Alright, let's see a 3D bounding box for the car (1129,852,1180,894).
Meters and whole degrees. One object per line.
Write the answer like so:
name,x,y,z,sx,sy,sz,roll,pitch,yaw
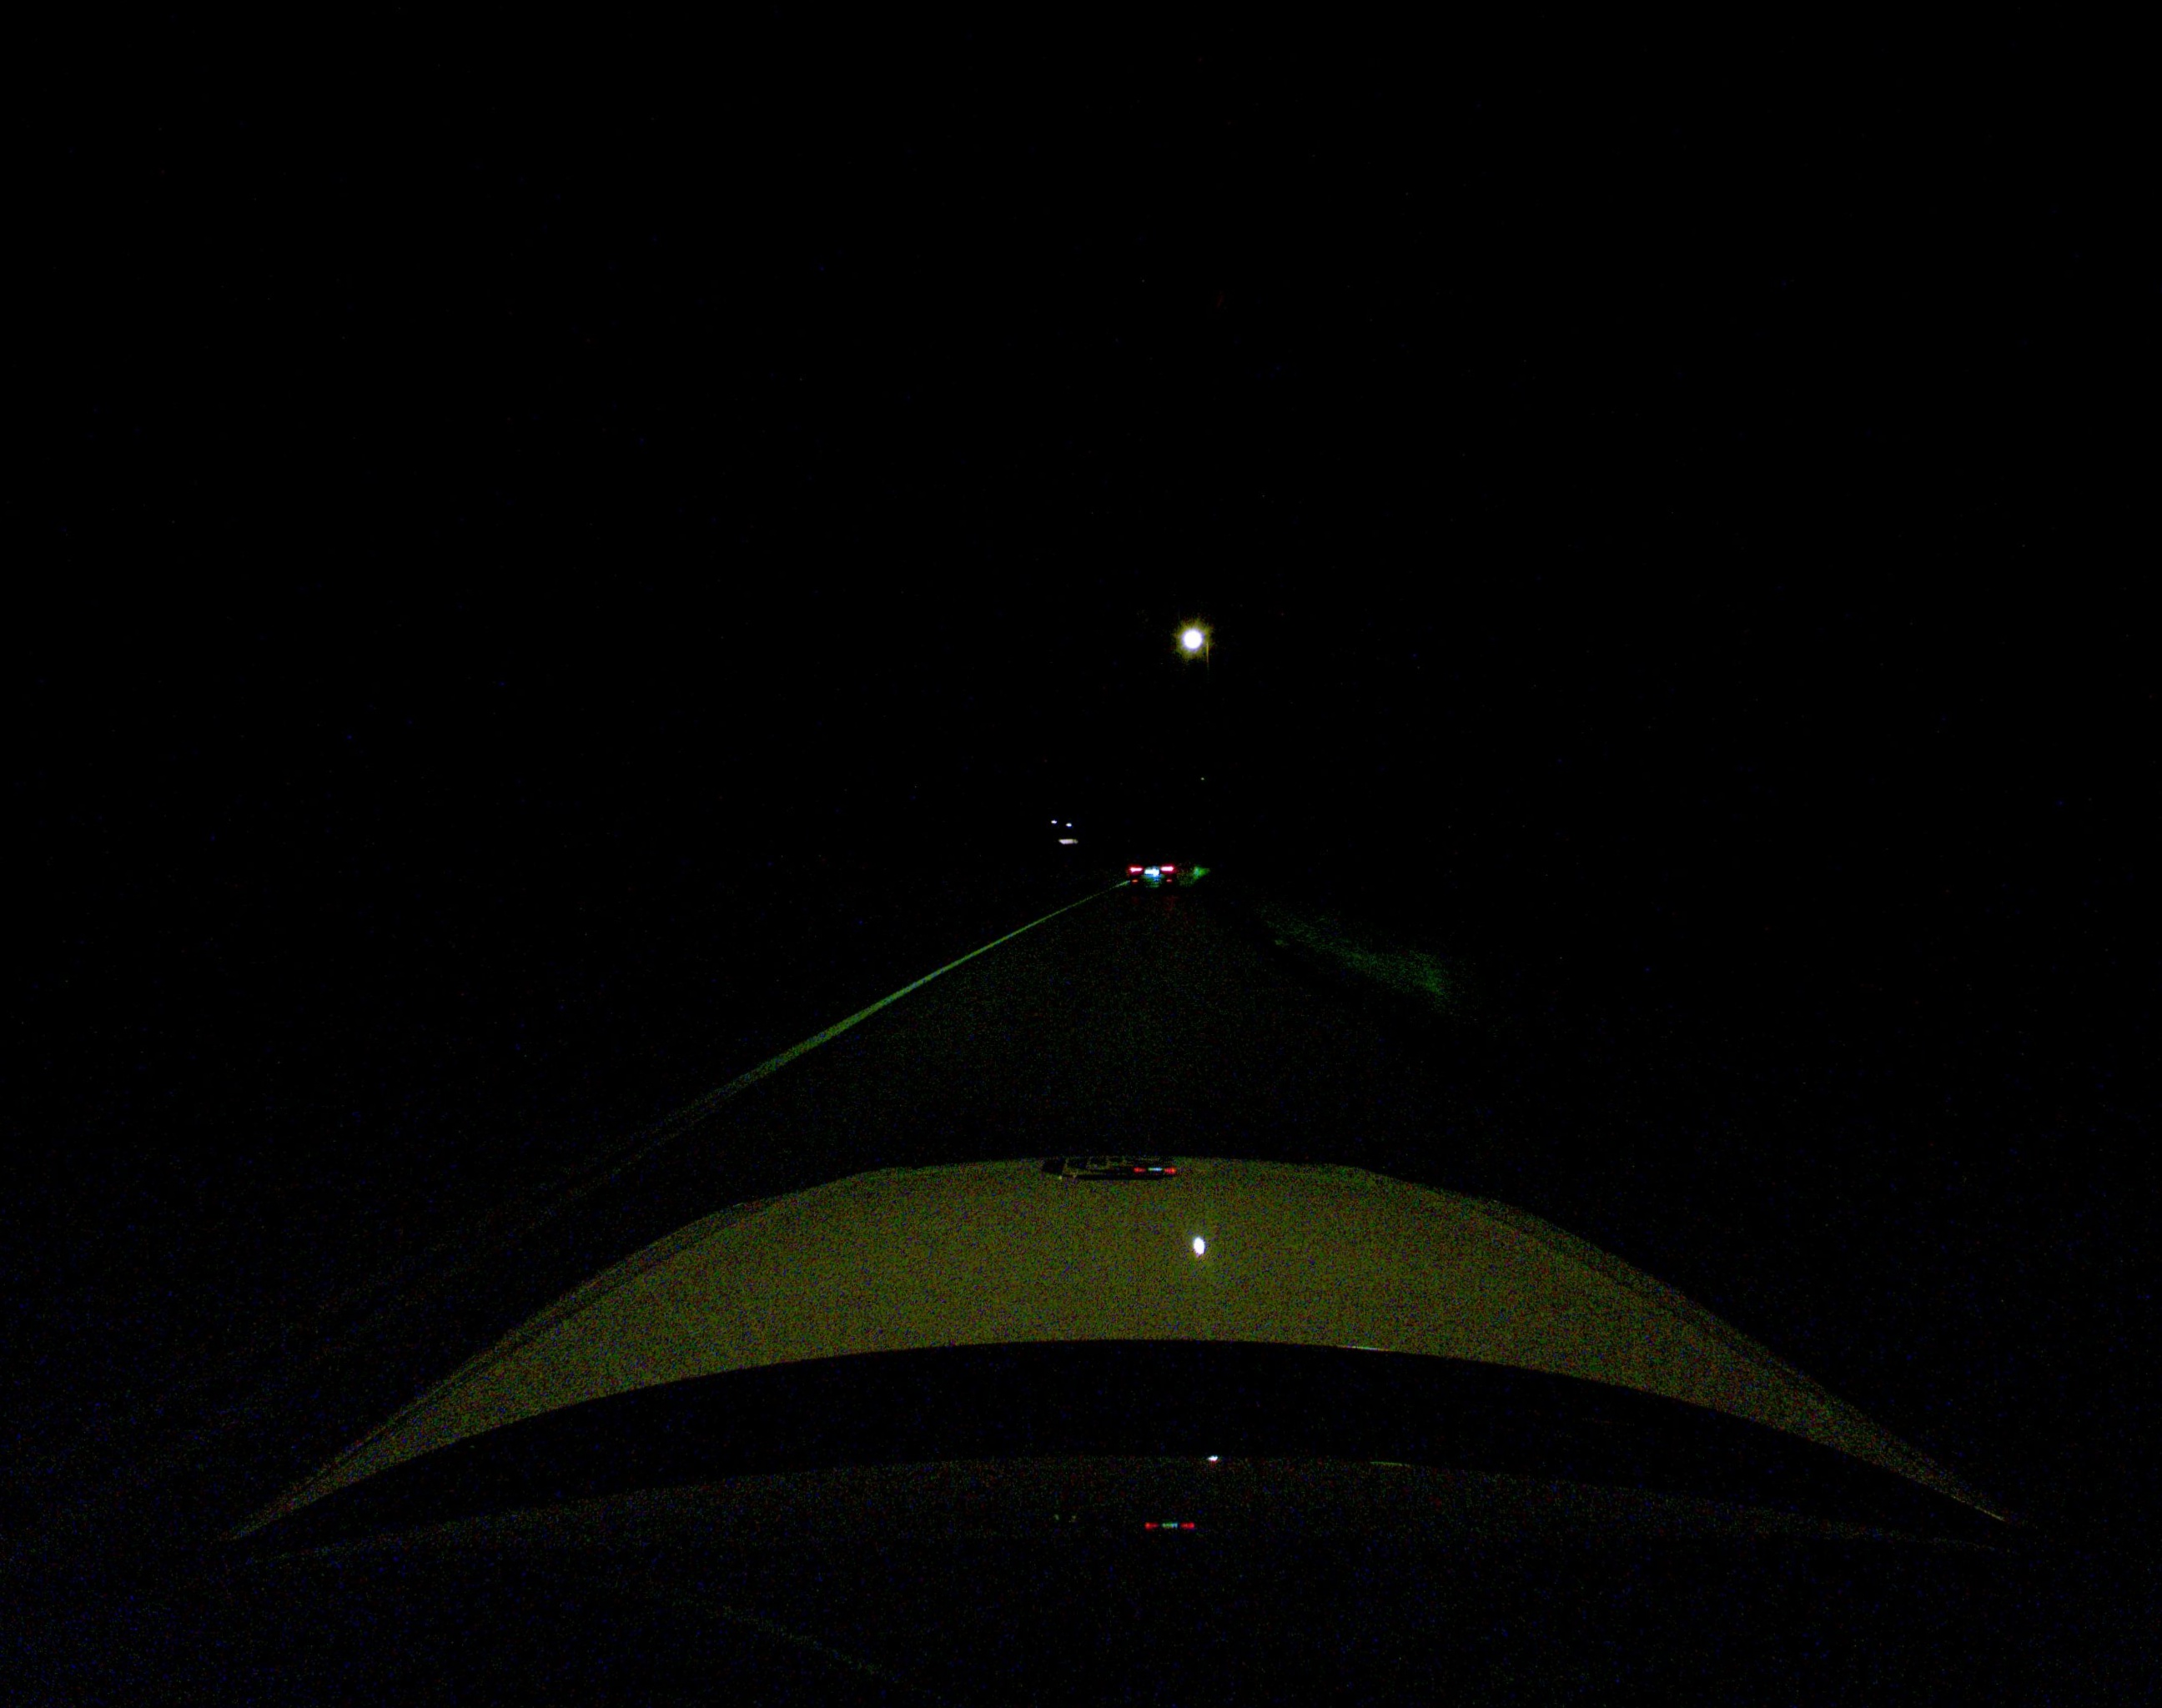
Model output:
car,3.032,0.714,33.040,1.804,1.573,3.953,-1,0,9
